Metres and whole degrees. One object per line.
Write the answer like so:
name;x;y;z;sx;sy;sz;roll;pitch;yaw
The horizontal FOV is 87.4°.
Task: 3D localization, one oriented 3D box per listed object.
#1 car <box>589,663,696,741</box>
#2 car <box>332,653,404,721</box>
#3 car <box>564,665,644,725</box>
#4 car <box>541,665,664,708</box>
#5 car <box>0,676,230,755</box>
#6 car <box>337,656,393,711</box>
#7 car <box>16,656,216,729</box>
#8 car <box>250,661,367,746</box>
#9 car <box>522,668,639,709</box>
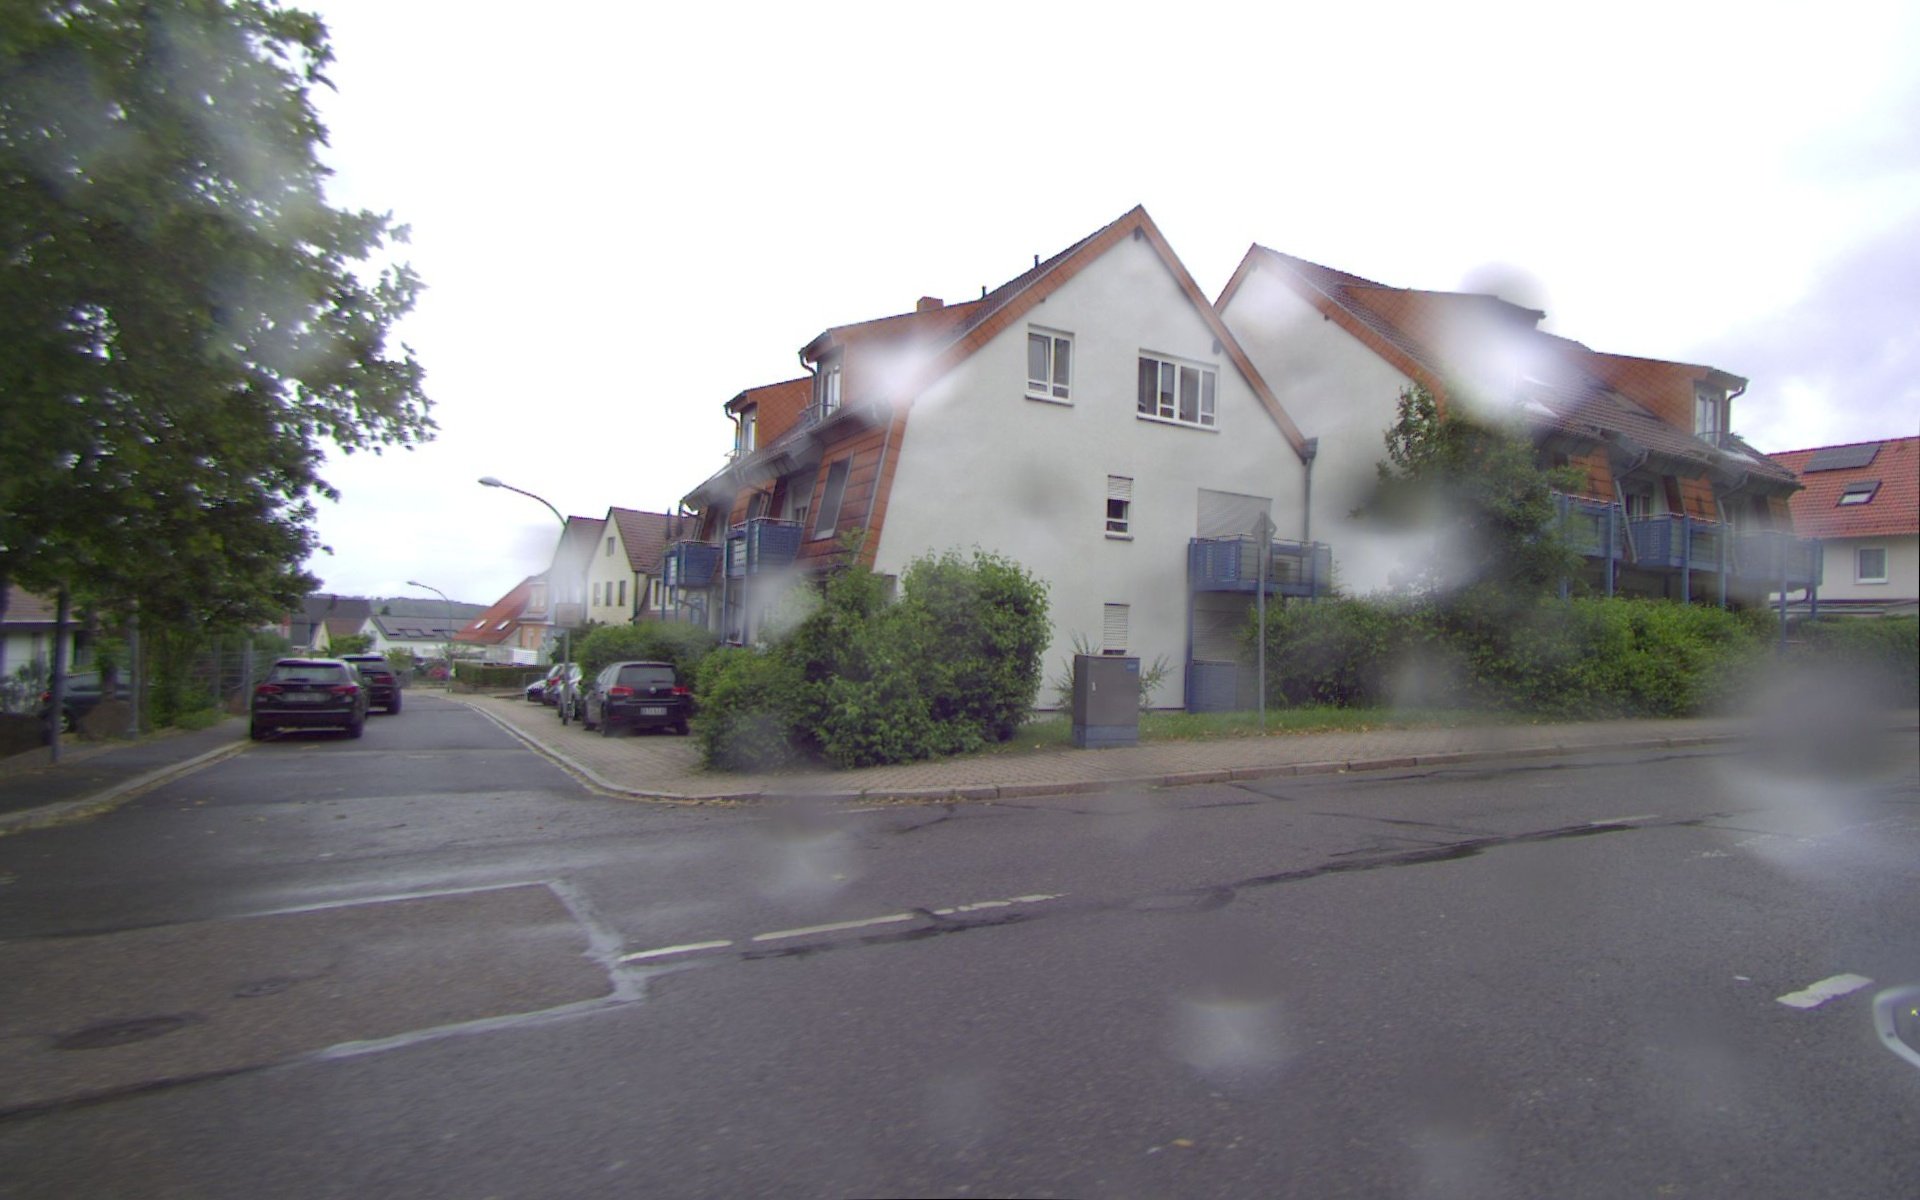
car;-6.863;2.090;21.475;1.714;1.461;3.977;1;-3;-24
car;-17.828;2.601;30.312;1.718;1.887;3.969;2;-5;-30
car;-9.631;2.509;27.023;1.714;1.460;3.978;1;-5;-24
car;-13.076;3.154;36.772;3.958;1.460;1.723;2;-5;-34
car;-19.928;2.666;23.899;3.956;1.605;1.983;1;-3;-32
car;-22.742;3.151;38.418;1.718;1.953;3.969;2;-4;-30
car;-23.659;2.566;28.379;3.953;1.921;1.985;2;-5;-30
car;-12.702;1.932;19.649;1.719;1.461;3.965;2;-4;-33
car;-14.611;3.393;38.710;3.958;1.460;1.723;2;-5;-34
